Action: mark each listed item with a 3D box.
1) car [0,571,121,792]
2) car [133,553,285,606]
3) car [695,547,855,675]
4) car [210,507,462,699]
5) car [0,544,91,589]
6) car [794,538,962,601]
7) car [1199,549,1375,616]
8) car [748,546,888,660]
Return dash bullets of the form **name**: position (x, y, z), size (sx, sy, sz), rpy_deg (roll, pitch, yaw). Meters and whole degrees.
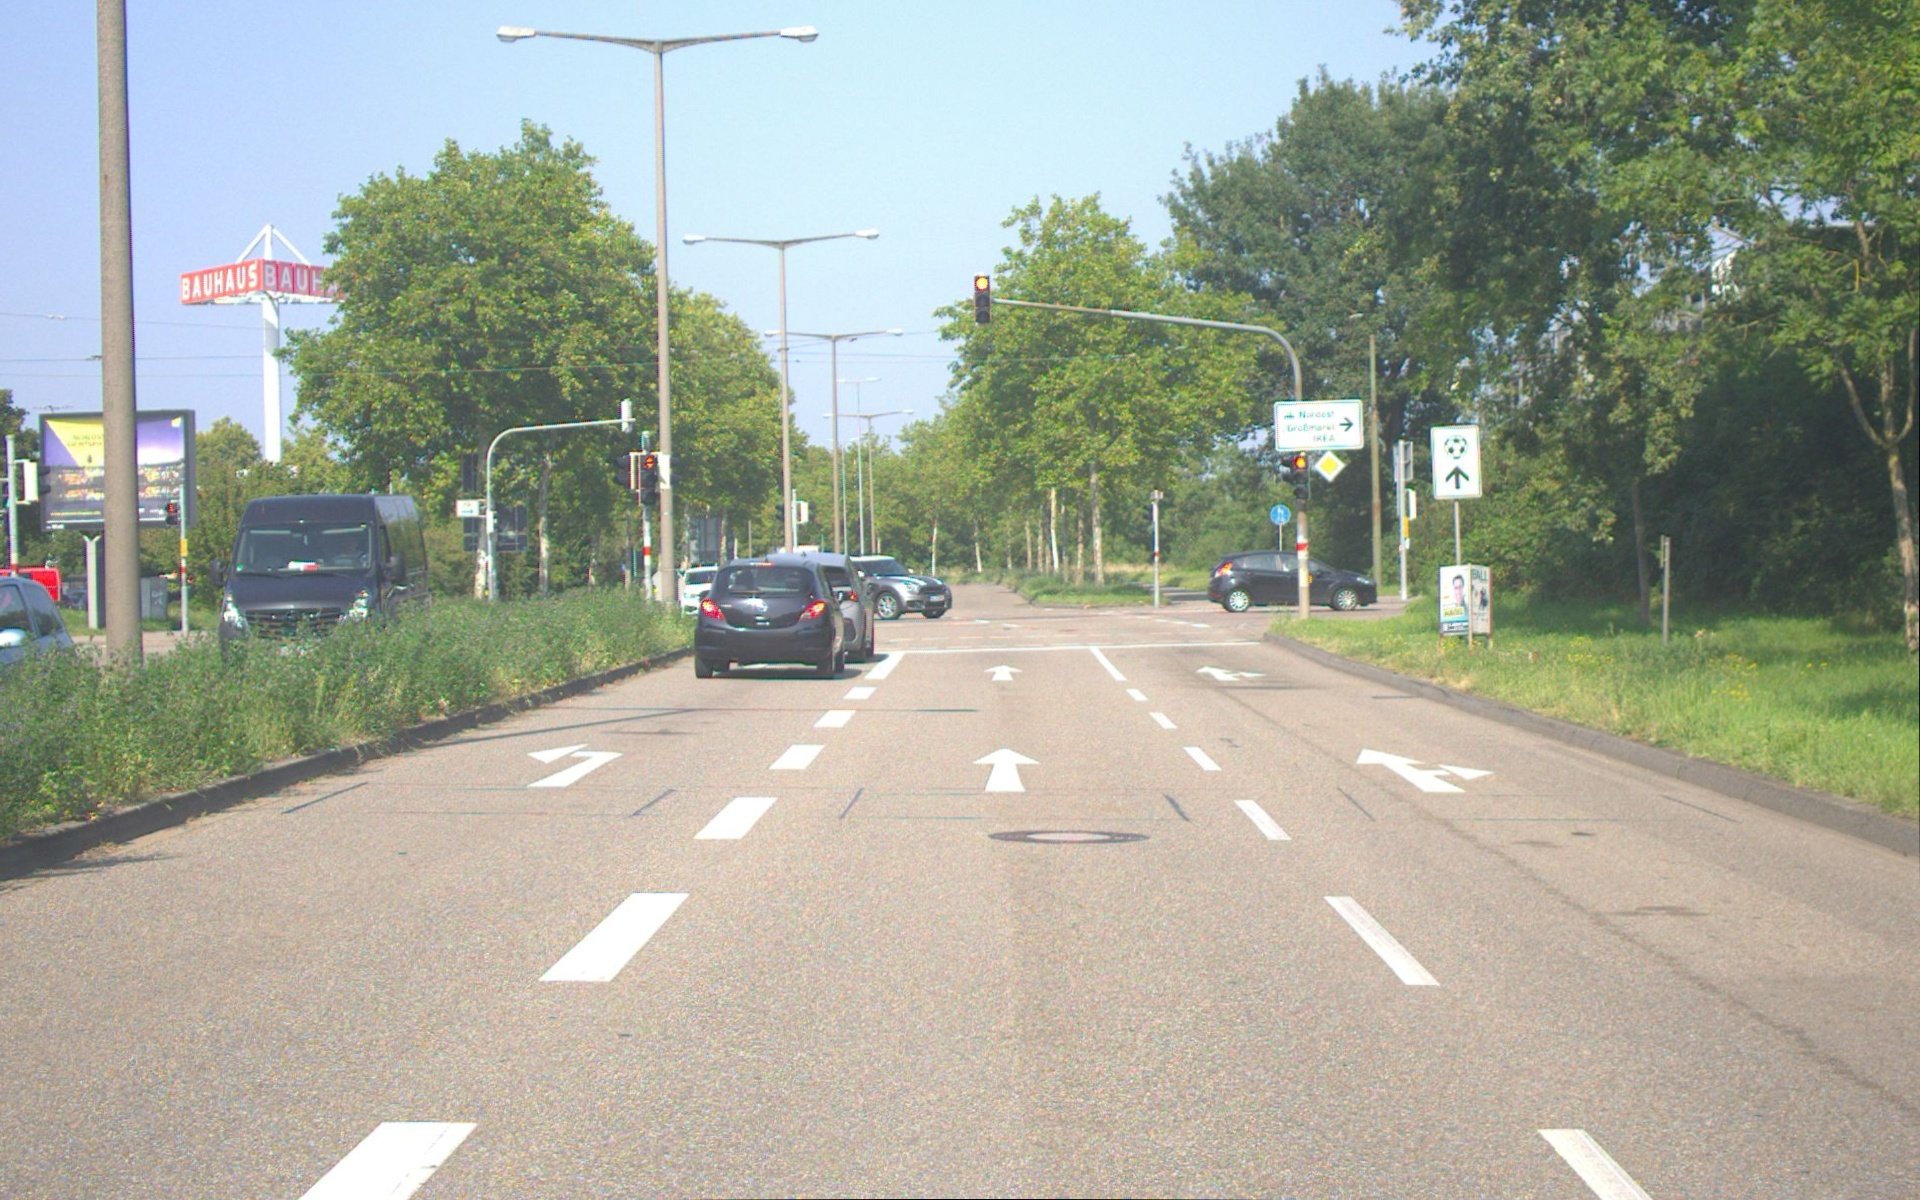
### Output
- **car**: position (-7.705, 0.574, 25.780), size (1.773, 1.568, 4.000), rpy_deg (0, 0, 1)
- **car**: position (-18.931, -0.519, 86.708), size (3.376, 1.133, 1.493), rpy_deg (-3, 1, 9)
- **car**: position (-2.268, 0.106, 42.960), size (1.692, 1.481, 4.000), rpy_deg (-2, 1, 1)
- **car**: position (-8.073, 0.010, 45.123), size (2.112, 2.325, 6.282), rpy_deg (0, 0, 1)
- **car**: position (-41.503, -1.502, 154.466), size (4.278, 2.007, 1.999), rpy_deg (-1, 1, -39)
- **car**: position (-1.992, -0.752, 83.338), size (3.975, 1.481, 1.621), rpy_deg (1, 1, 39)
- **car**: position (7.632, -0.417, 80.502), size (3.962, 1.528, 1.823), rpy_deg (0, 0, 1)
- **car**: position (-1.937, 0.010, 47.768), size (1.692, 1.481, 4.000), rpy_deg (-2, 1, 1)
